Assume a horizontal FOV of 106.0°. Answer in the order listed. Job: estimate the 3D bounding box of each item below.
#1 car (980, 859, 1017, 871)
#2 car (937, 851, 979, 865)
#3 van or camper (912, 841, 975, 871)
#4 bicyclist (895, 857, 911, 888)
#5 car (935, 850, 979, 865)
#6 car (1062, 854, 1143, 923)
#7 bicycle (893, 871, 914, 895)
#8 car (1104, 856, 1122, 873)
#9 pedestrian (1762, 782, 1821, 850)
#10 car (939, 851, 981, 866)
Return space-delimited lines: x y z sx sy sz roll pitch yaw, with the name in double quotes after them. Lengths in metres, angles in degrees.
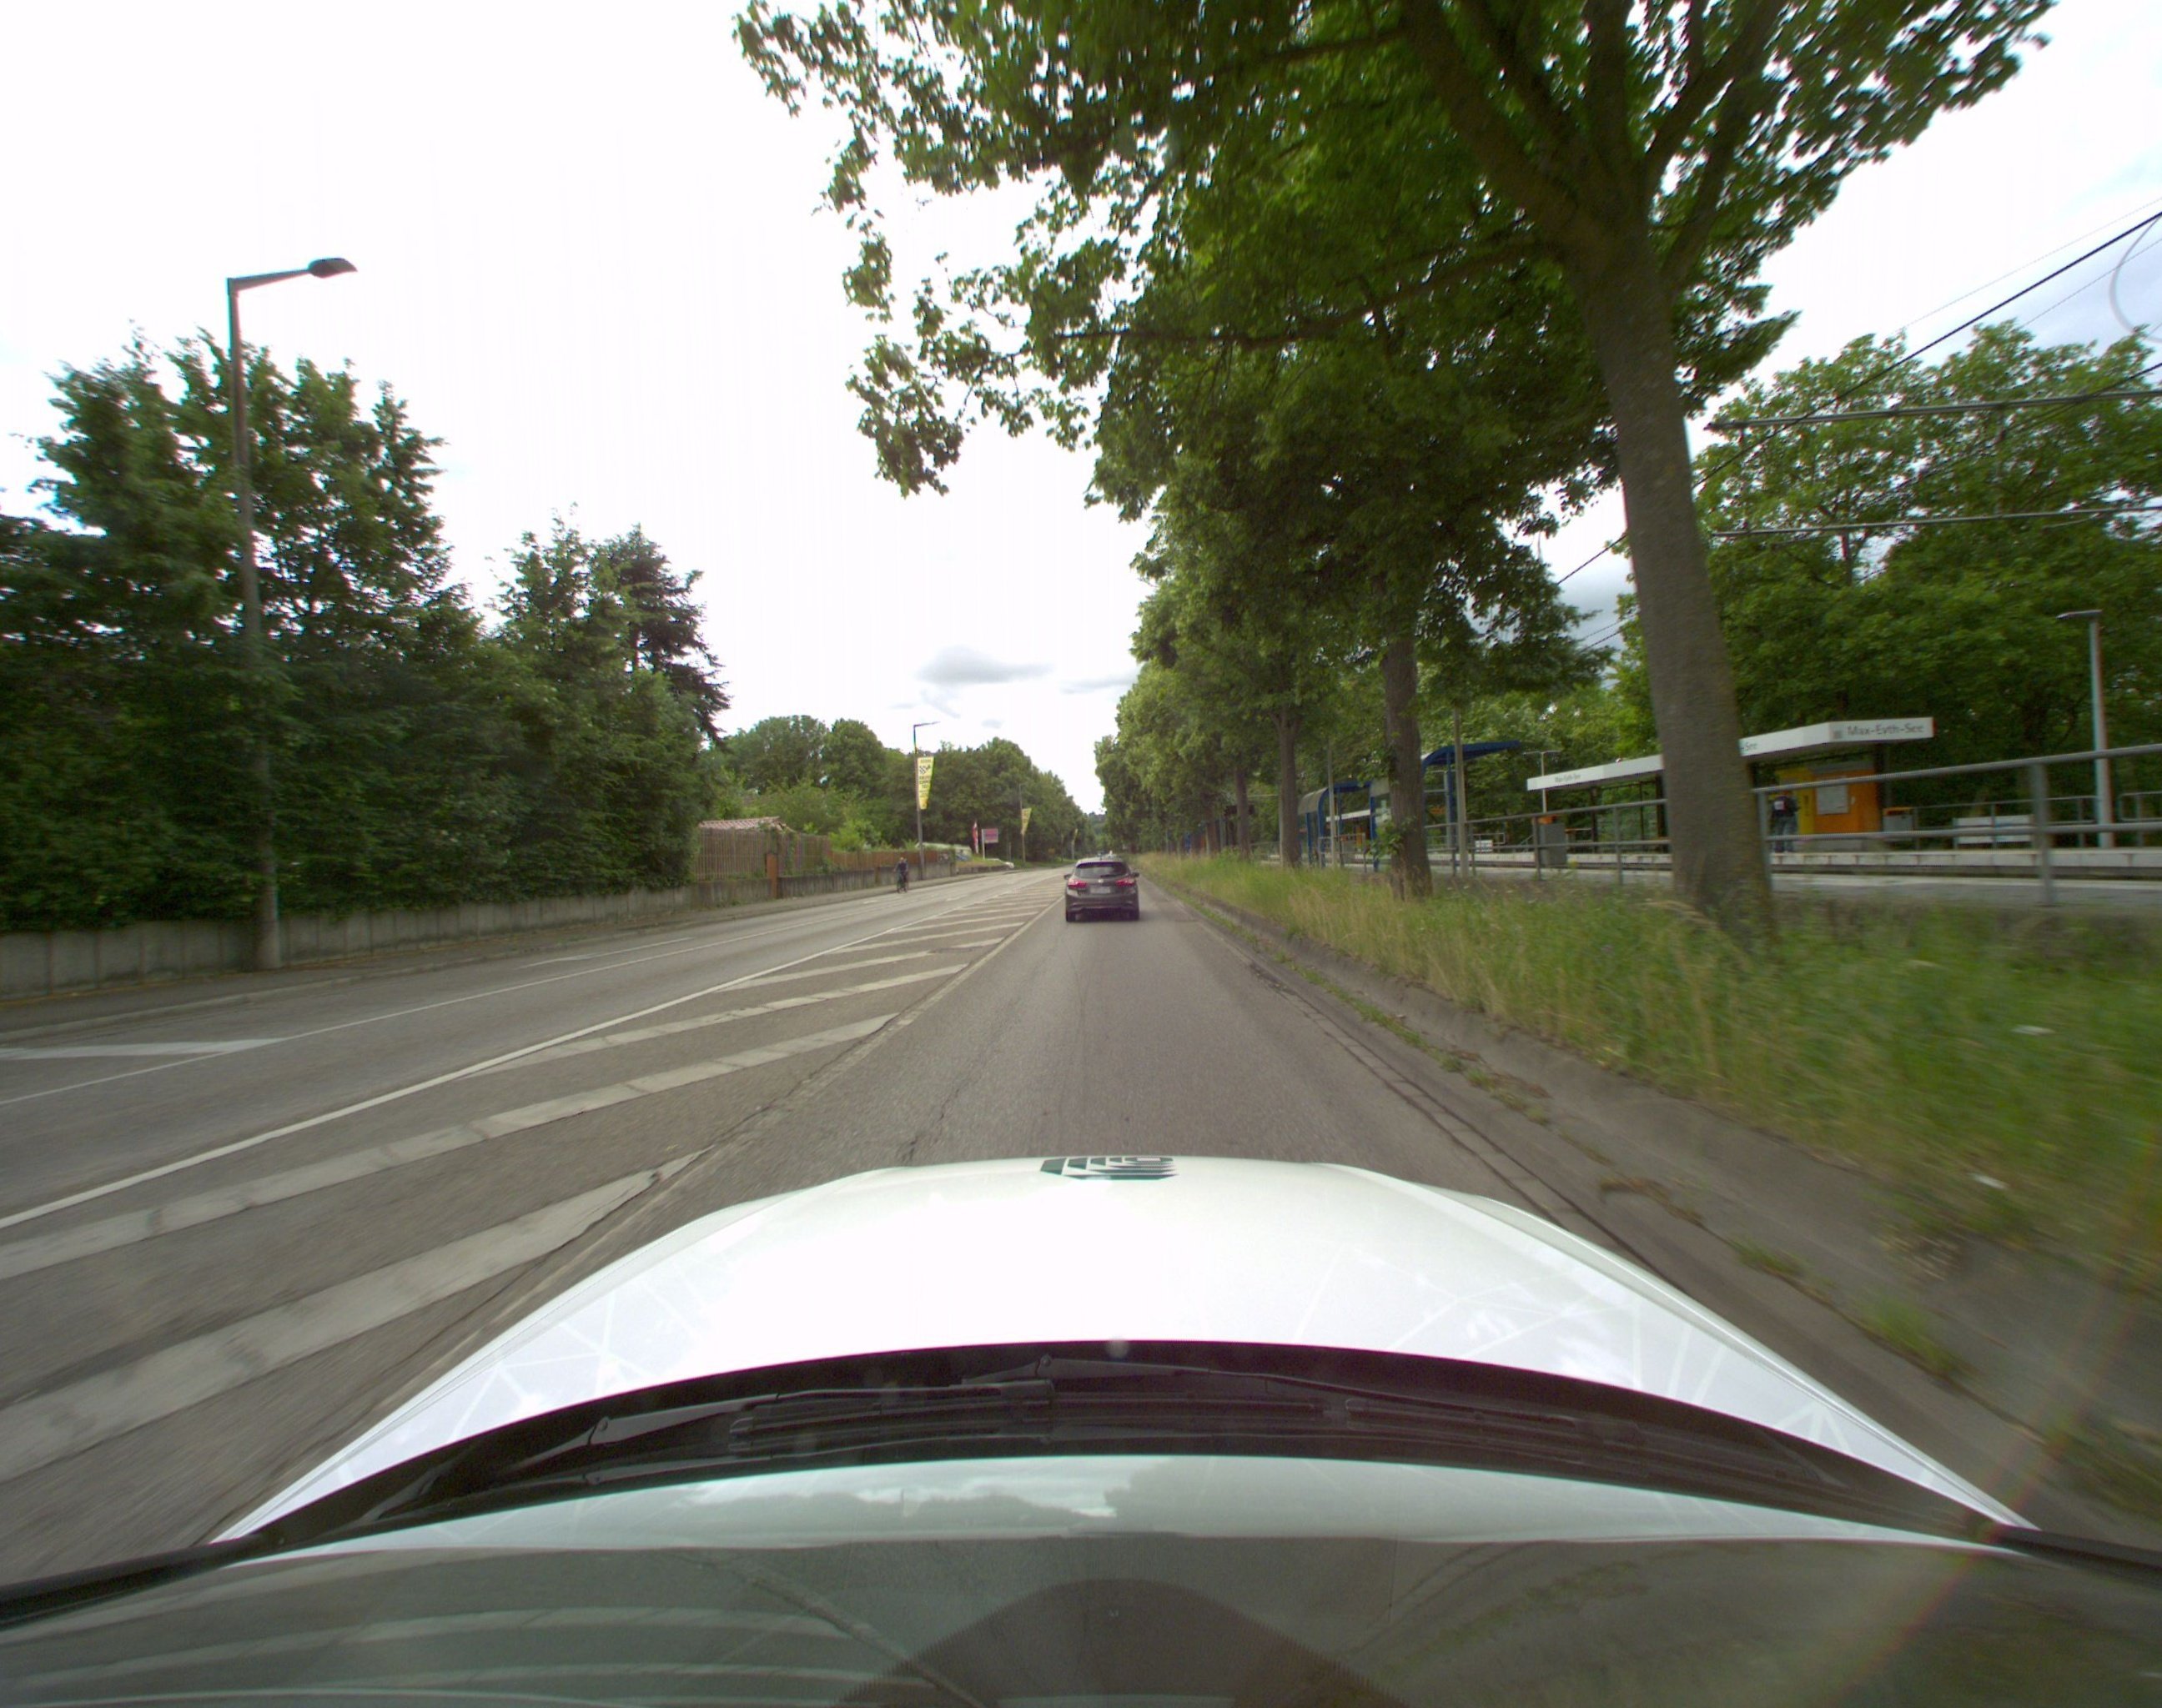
-10.292 1.359 102.053 4.361 1.441 1.961 -1 0 -1 "car"
-12.617 0.445 83.792 3.966 1.411 1.536 -1 -1 6 "car"
-17.210 0.240 102.060 7.114 3.371 2.798 3 0 2 "van or camper"
-8.891 0.928 40.709 0.640 1.535 0.978 -1 0 -2 "bicyclist"
-12.468 0.364 81.917 3.966 1.497 1.863 -1 -1 6 "car"
0.628 0.814 20.749 1.829 1.528 3.933 -2 -1 4 "car"
-8.902 1.432 40.875 0.640 1.145 2.146 -1 0 -2 "bicycle"
2.955 0.992 75.525 1.496 1.528 3.675 -1 -1 4 "car"
16.413 -0.855 18.827 0.715 1.511 0.725 -1 -1 5 "pedestrian"
-12.729 0.487 85.755 3.966 1.492 1.650 -1 -1 6 "car"
